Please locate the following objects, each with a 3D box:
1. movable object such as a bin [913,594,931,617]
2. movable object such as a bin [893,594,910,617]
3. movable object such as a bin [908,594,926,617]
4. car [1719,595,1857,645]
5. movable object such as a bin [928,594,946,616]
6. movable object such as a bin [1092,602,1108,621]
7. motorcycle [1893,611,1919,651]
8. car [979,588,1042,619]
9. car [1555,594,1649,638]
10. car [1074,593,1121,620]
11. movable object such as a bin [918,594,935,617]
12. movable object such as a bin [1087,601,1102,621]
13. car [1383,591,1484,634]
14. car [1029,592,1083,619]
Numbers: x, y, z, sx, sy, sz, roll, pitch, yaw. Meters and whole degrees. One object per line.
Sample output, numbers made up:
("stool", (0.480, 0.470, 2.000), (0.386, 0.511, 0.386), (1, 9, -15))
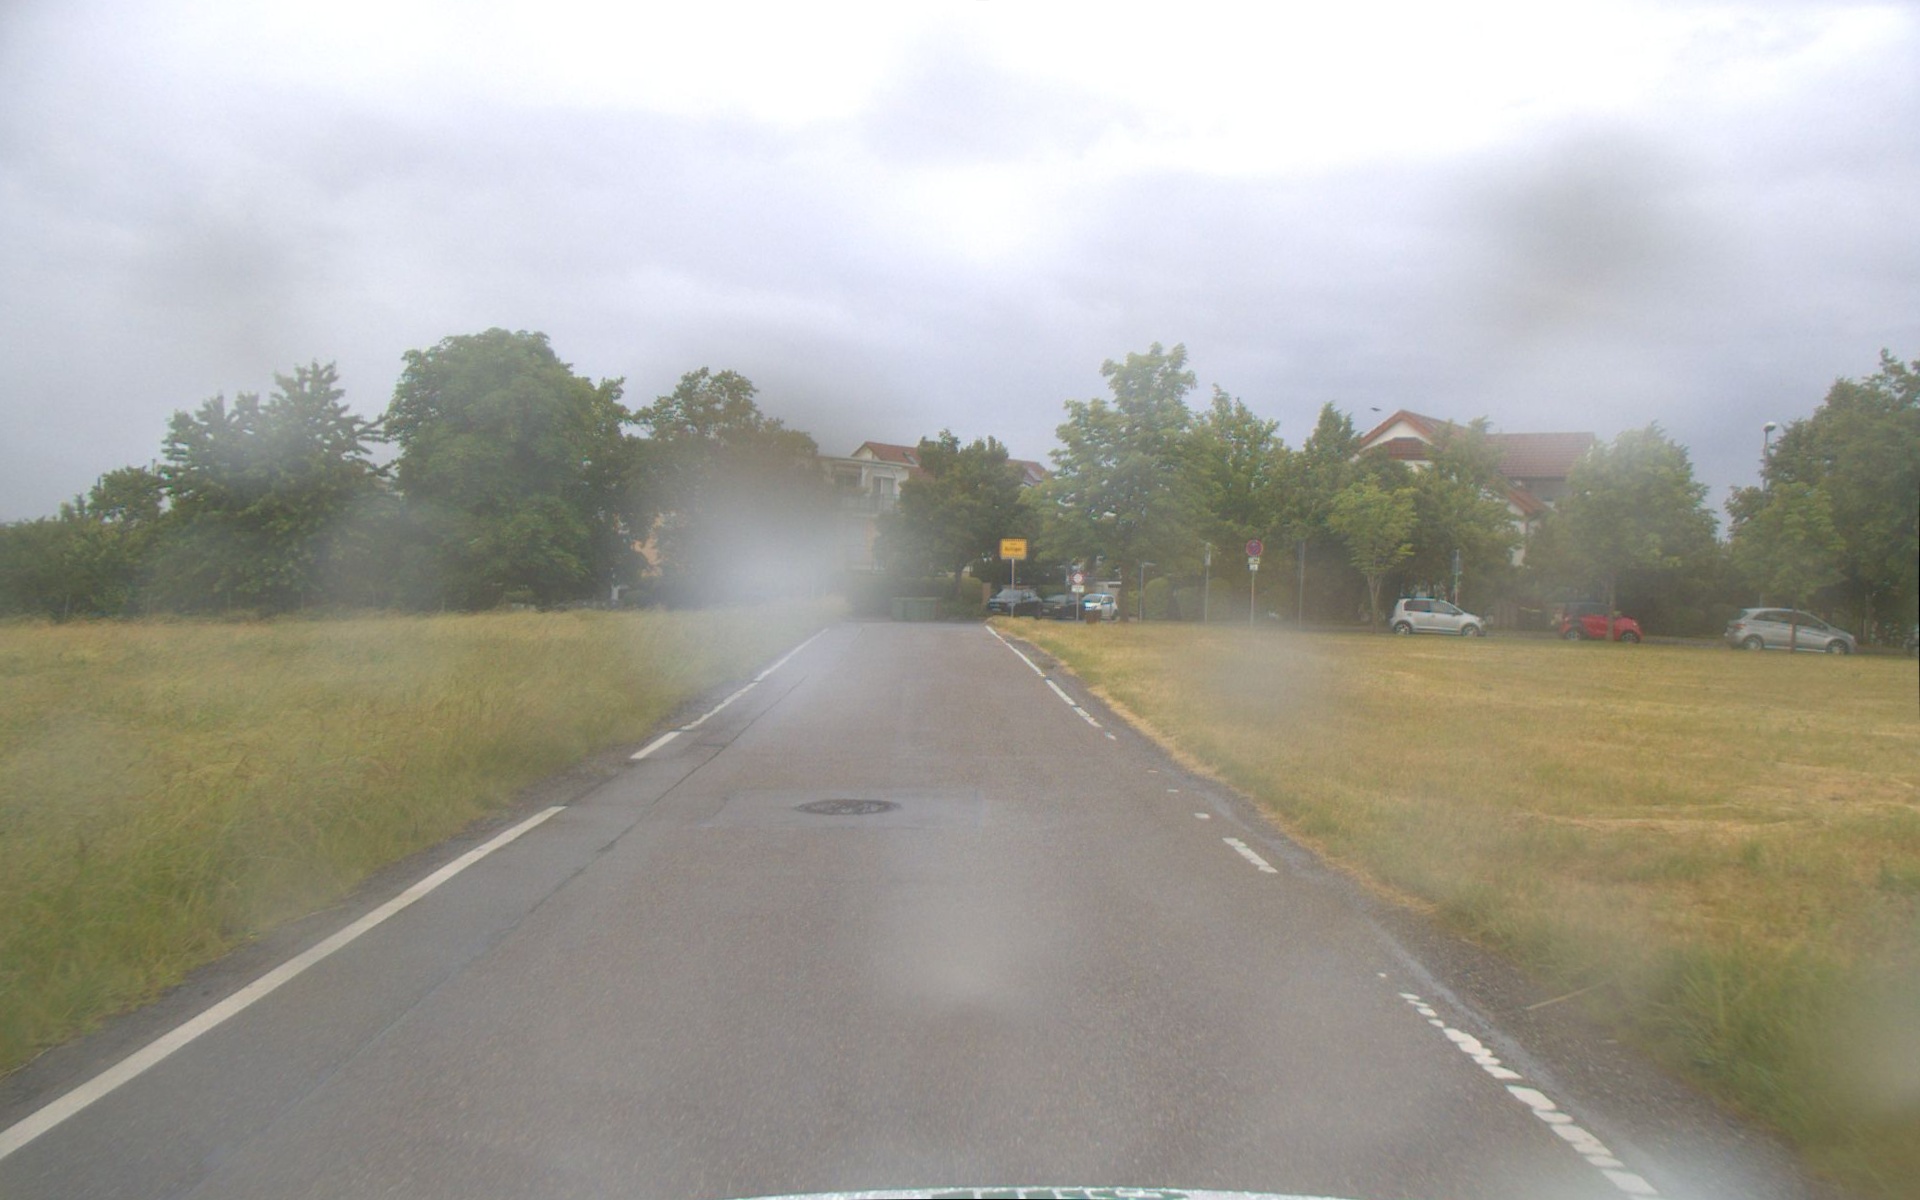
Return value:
("movable object such as a bin", (-1.814, 0.258, 78.446), (0.680, 1.093, 0.544), (1, 0, 19))
("movable object such as a bin", (-2.775, 0.248, 78.026), (0.651, 1.092, 0.544), (1, 0, 20))
("movable object such as a bin", (-2.030, 0.261, 77.841), (0.680, 1.093, 0.602), (1, 0, 19))
("car", (28.881, 0.681, 57.779), (3.892, 1.579, 1.854), (2, 0, 11))
("movable object such as a bin", (-1.108, 0.254, 80.235), (0.680, 1.073, 0.605), (1, 0, 19))
("movable object such as a bin", (6.958, 0.562, 82.118), (0.560, 0.947, 0.529), (2, 0, 32))
("motorcycle", (33.196, 1.074, 56.349), (2.209, 1.325, 0.972), (2, 1, 11))
("car", (2.764, 0.189, 89.157), (1.741, 1.545, 4.132), (4, 1, 27))
("car", (22.894, 0.576, 59.067), (2.939, 1.461, 1.555), (2, -1, 16))
("car", (8.219, 0.382, 98.823), (1.483, 1.502, 3.267), (4, 1, 30))
("movable object such as a bin", (-1.606, 0.258, 79.022), (0.680, 1.086, 0.579), (1, 0, 19))
("movable object such as a bin", (6.644, 0.551, 81.632), (0.560, 0.947, 0.529), (2, 0, 32))
("car", (17.319, 0.468, 60.517), (3.468, 1.505, 1.681), (1, -1, 17))
("car", (5.489, 0.328, 94.360), (1.604, 1.433, 3.599), (4, 1, 28))
